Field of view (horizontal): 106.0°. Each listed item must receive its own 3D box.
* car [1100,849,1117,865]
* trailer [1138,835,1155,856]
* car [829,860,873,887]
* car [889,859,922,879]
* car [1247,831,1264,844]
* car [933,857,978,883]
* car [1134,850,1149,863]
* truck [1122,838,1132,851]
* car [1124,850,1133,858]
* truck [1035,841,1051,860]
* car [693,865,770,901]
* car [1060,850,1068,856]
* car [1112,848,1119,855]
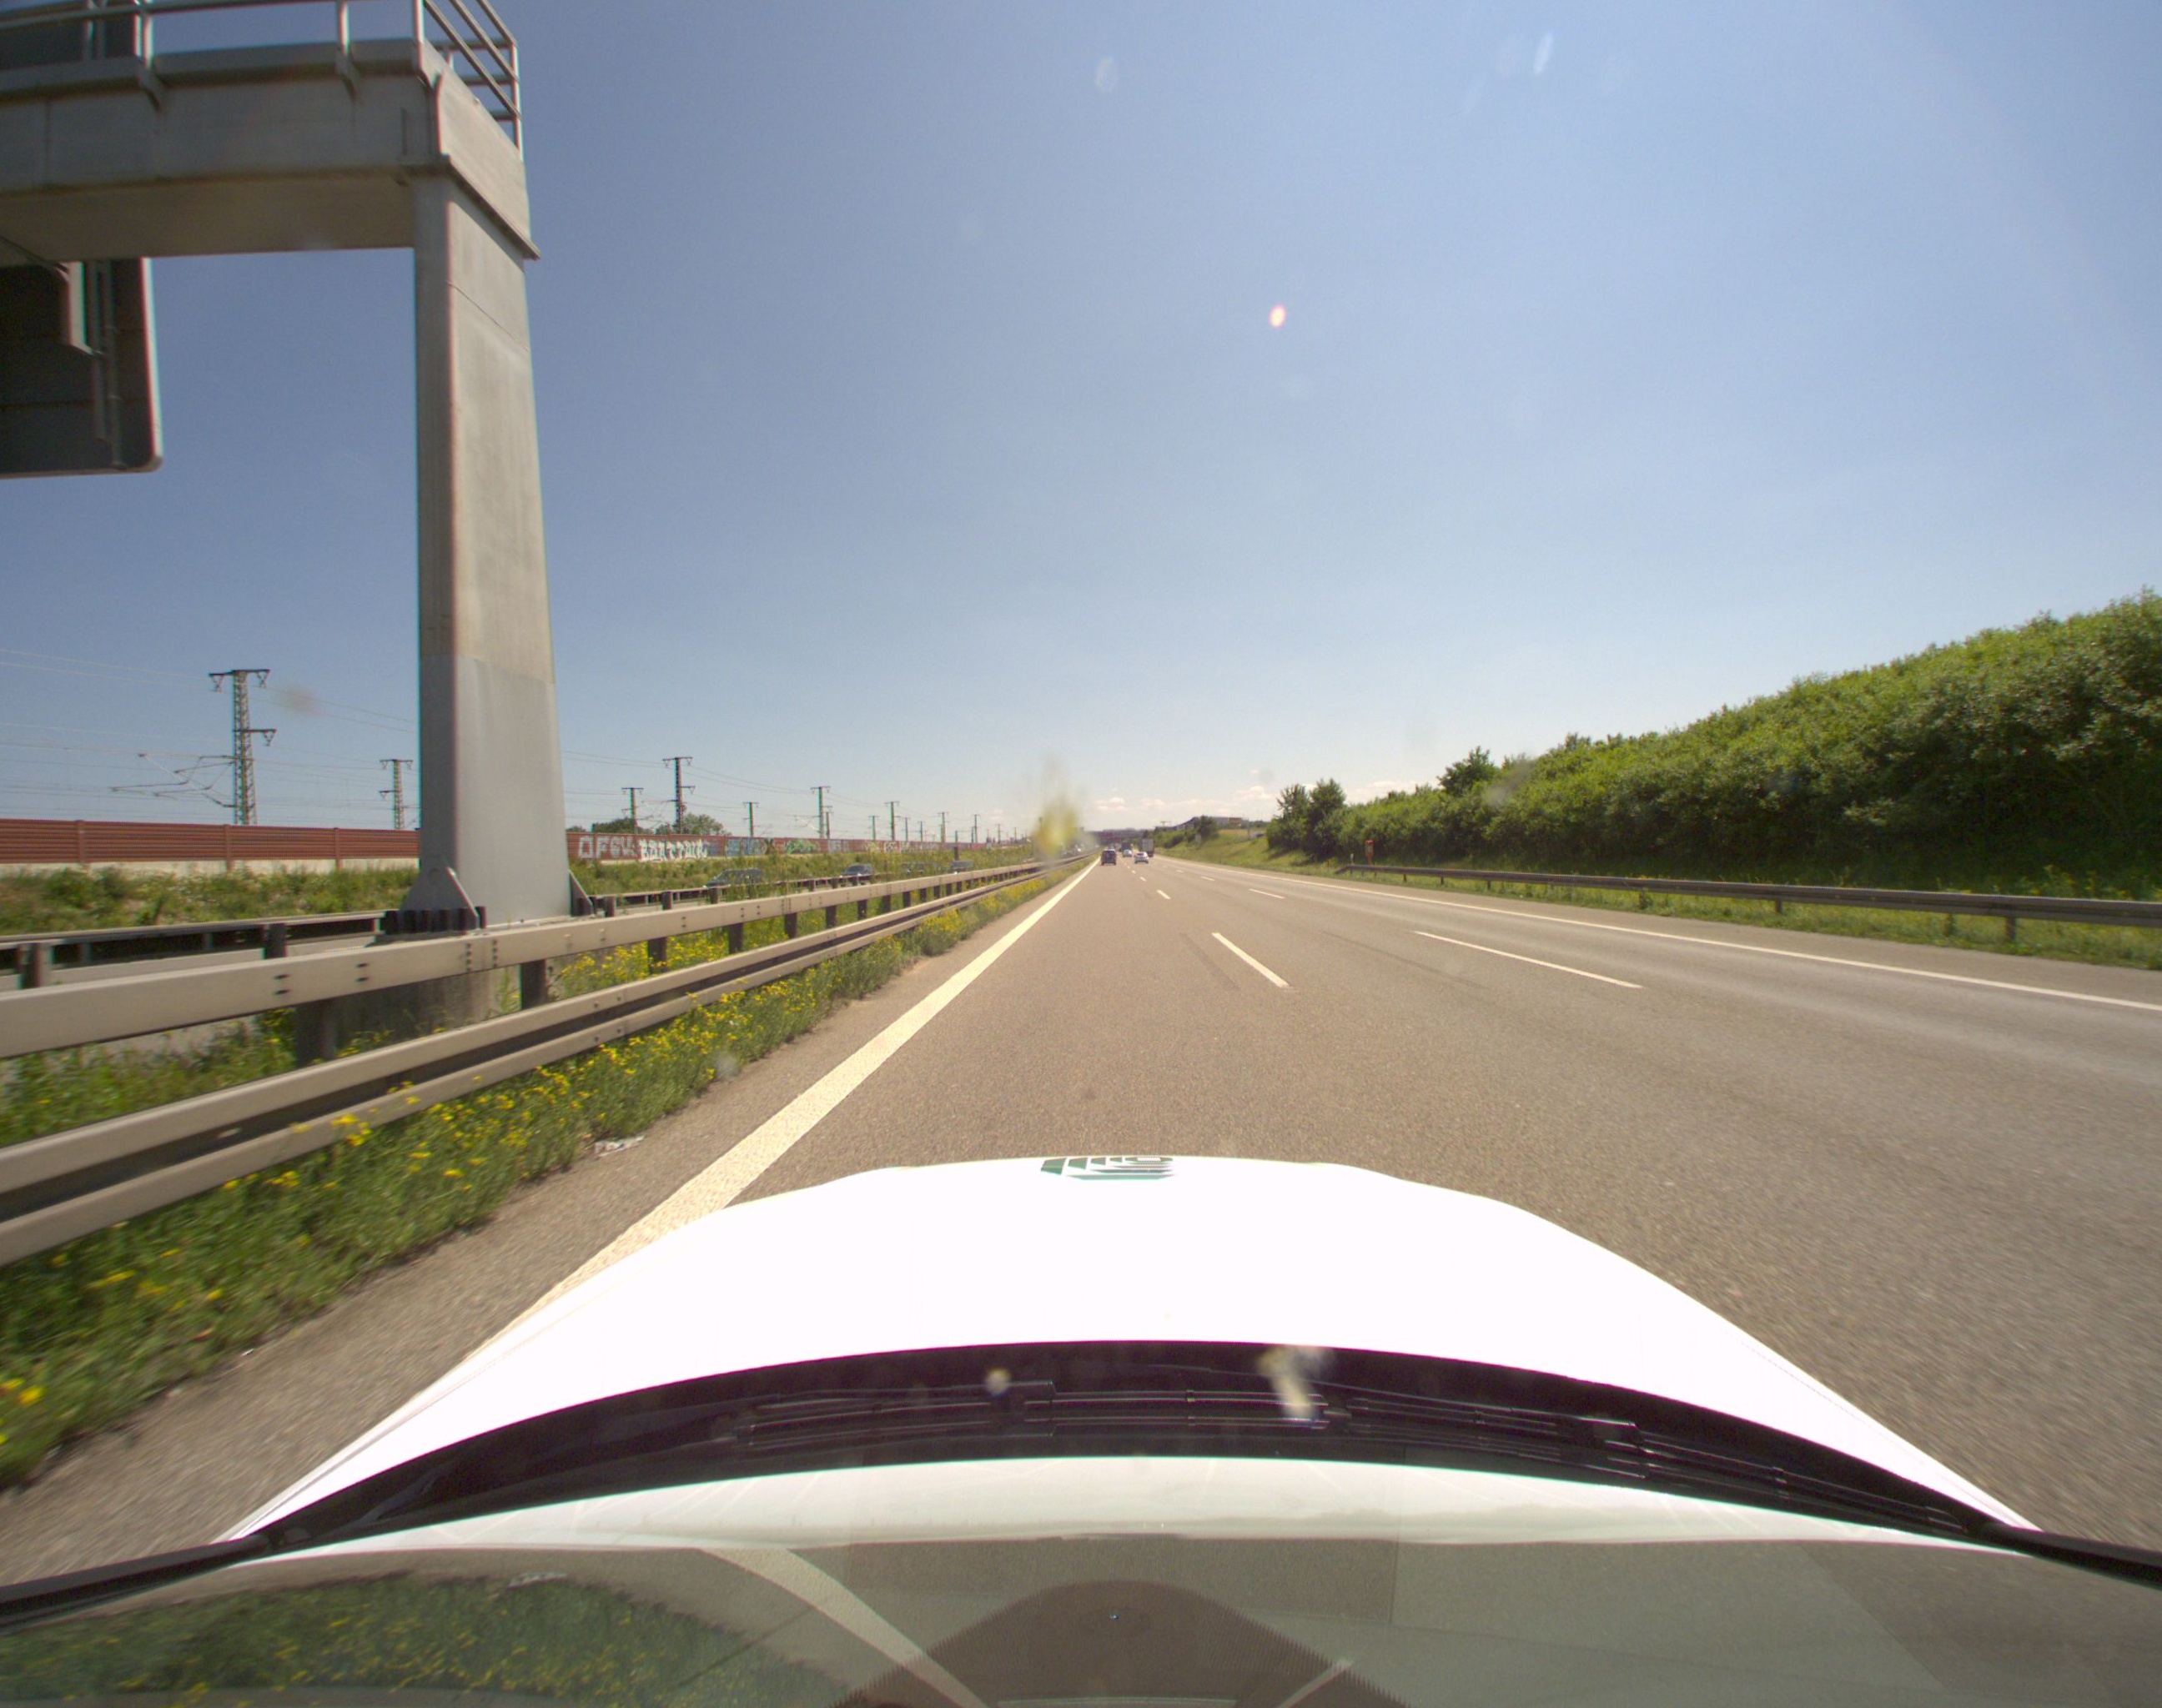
[{"bbox_3d":[3.259,0.311,96.856,1.873,1.775,4.002,-2,0,2],"label":"car"},{"bbox_3d":[13.764,-1.797,171.683,3.165,4.059,9.445,-2,1,2],"label":"trailer"},{"bbox_3d":[-17.535,1.469,62.326,1.986,2.014,4.311,0,-1,2],"label":"car"},{"bbox_3d":[-16.931,1.427,78.845,1.986,1.726,4.515,-1,0,2],"label":"car"},{"bbox_3d":[34.155,-3.260,159.500,2.266,2.527,5.401,-1,1,1],"label":"car"},{"bbox_3d":[-7.405,0.902,48.556,1.860,1.395,4.273,-2,0,2],"label":"car"},{"bbox_3d":[7.797,0.333,105.305,1.872,1.526,4.005,-1,0,5],"label":"car"},{"bbox_3d":[12.154,-2.451,215.151,2.346,3.416,6.061,-1,1,2],"label":"truck"},{"bbox_3d":[10.011,0.017,171.832,1.873,1.526,4.003,-1,0,3],"label":"car"},{"bbox_3d":[-9.058,-0.886,194.467,2.877,4.407,7.507,-3,0,2],"label":"truck"},{"bbox_3d":[-18.741,1.528,43.927,1.985,1.726,4.516,-1,0,3],"label":"car"},{"bbox_3d":[-4.868,-0.205,232.696,1.986,1.648,4.002,-1,0,2],"label":"car"},{"bbox_3d":[10.713,-0.843,250.198,1.986,2.013,4.001,-1,0,1],"label":"car"}]
